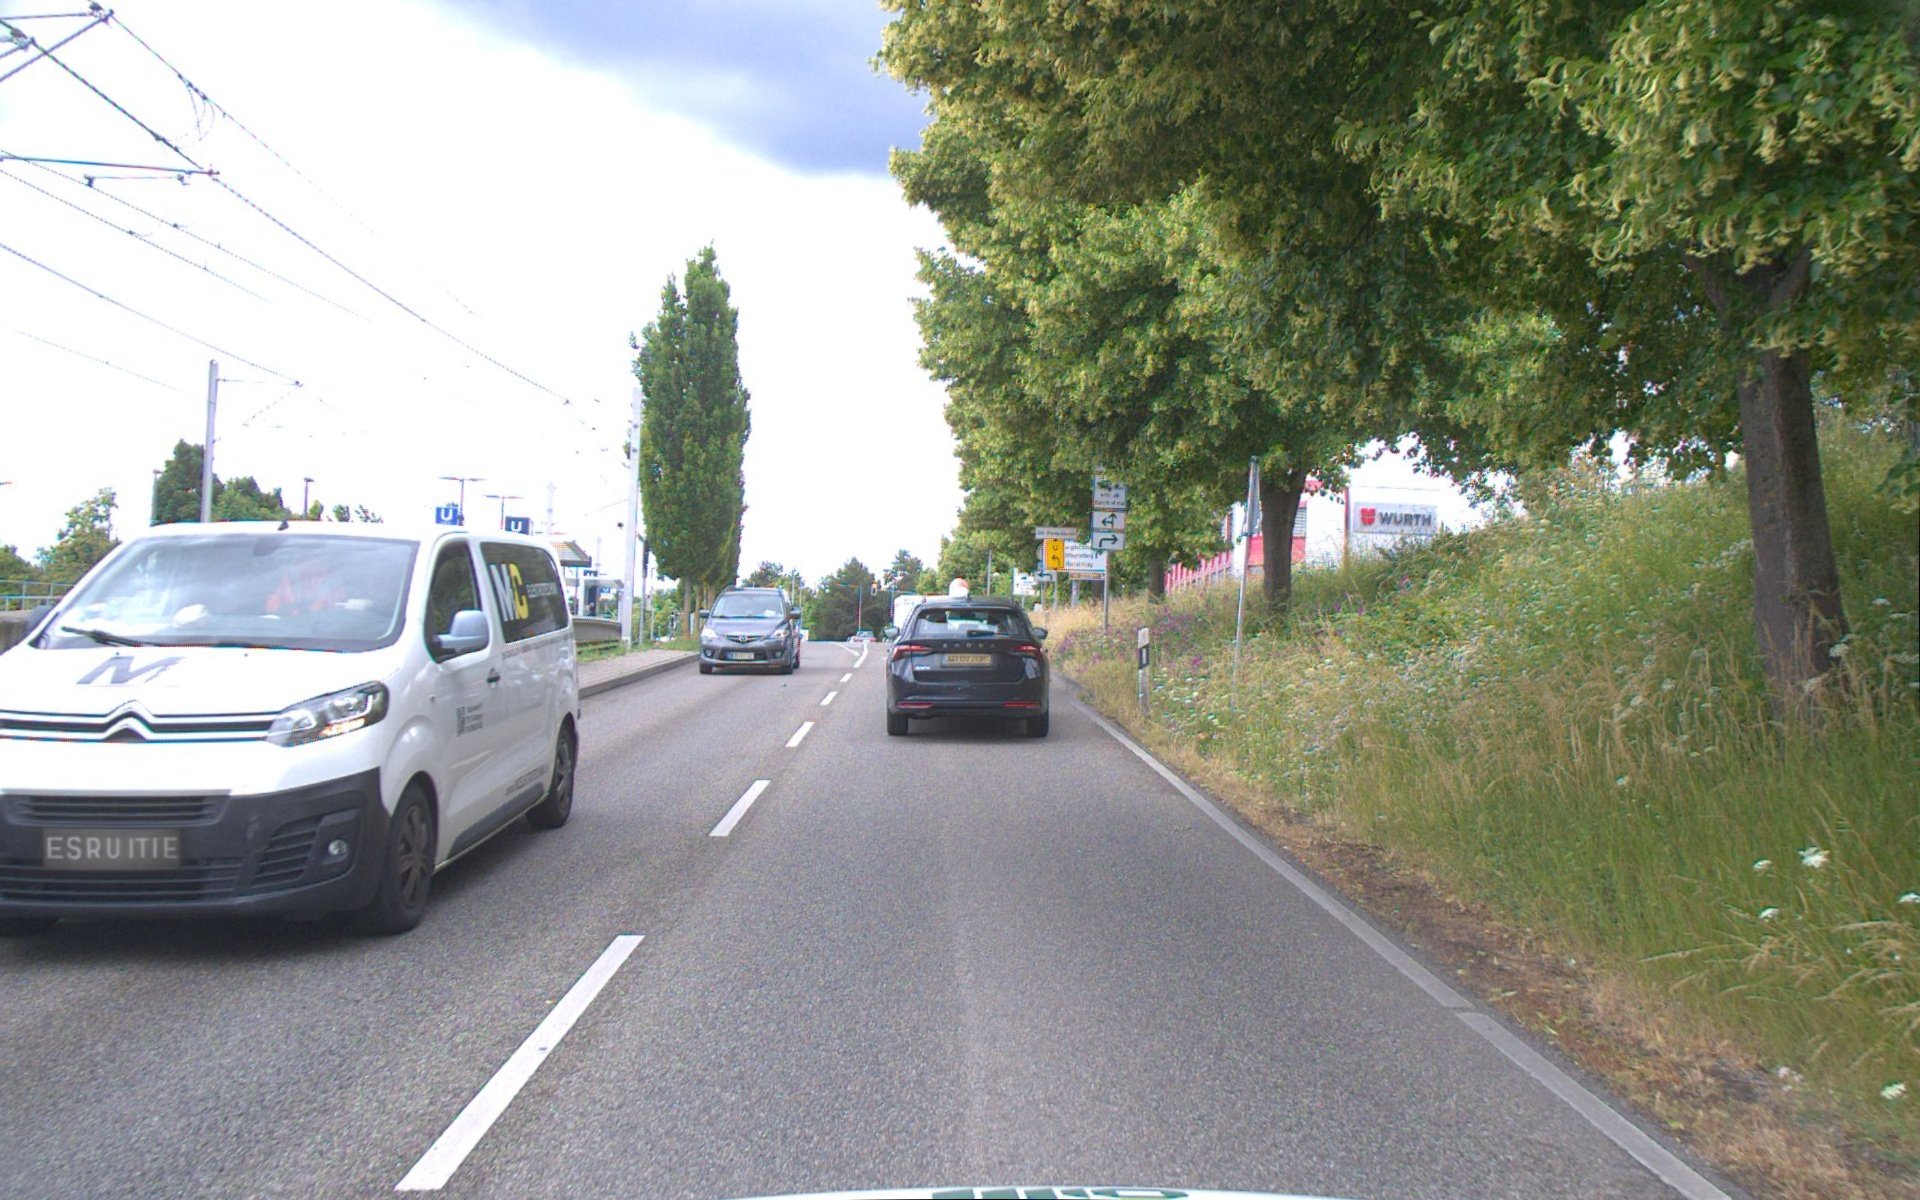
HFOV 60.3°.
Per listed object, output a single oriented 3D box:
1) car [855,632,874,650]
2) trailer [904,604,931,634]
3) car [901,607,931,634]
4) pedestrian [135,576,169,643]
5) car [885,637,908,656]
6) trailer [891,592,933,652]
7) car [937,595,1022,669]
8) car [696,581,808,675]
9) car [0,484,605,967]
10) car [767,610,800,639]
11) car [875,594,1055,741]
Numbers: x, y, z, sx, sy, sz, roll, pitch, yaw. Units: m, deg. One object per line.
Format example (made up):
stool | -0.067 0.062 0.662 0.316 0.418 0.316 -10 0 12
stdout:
car | -7.798 3.308 134.746 1.495 1.378 3.487 1 0 -4
trailer | -2.405 1.082 93.264 1.381 1.622 3.300 1 -2 -3
car | -2.611 1.233 97.165 1.638 1.473 4.485 1 -2 -3
pedestrian | -19.935 0.234 40.821 0.497 1.653 0.645 1 -1 -2
car | -5.190 3.785 135.288 1.775 1.378 4.116 2 -1 -2
trailer | -3.623 1.673 122.239 2.516 3.772 7.751 1 -6 -6
car | 0.365 0.653 34.941 1.590 1.483 3.687 1 0 -2
car | -3.989 0.503 32.336 1.786 1.686 4.244 1 0 -2
car | -3.302 0.494 8.904 1.858 1.865 4.903 -1 0 -2
car | -9.736 1.326 91.599 1.682 1.548 3.741 1 0 -4
car | 0.153 0.667 18.702 1.797 1.457 4.280 0 0 3
